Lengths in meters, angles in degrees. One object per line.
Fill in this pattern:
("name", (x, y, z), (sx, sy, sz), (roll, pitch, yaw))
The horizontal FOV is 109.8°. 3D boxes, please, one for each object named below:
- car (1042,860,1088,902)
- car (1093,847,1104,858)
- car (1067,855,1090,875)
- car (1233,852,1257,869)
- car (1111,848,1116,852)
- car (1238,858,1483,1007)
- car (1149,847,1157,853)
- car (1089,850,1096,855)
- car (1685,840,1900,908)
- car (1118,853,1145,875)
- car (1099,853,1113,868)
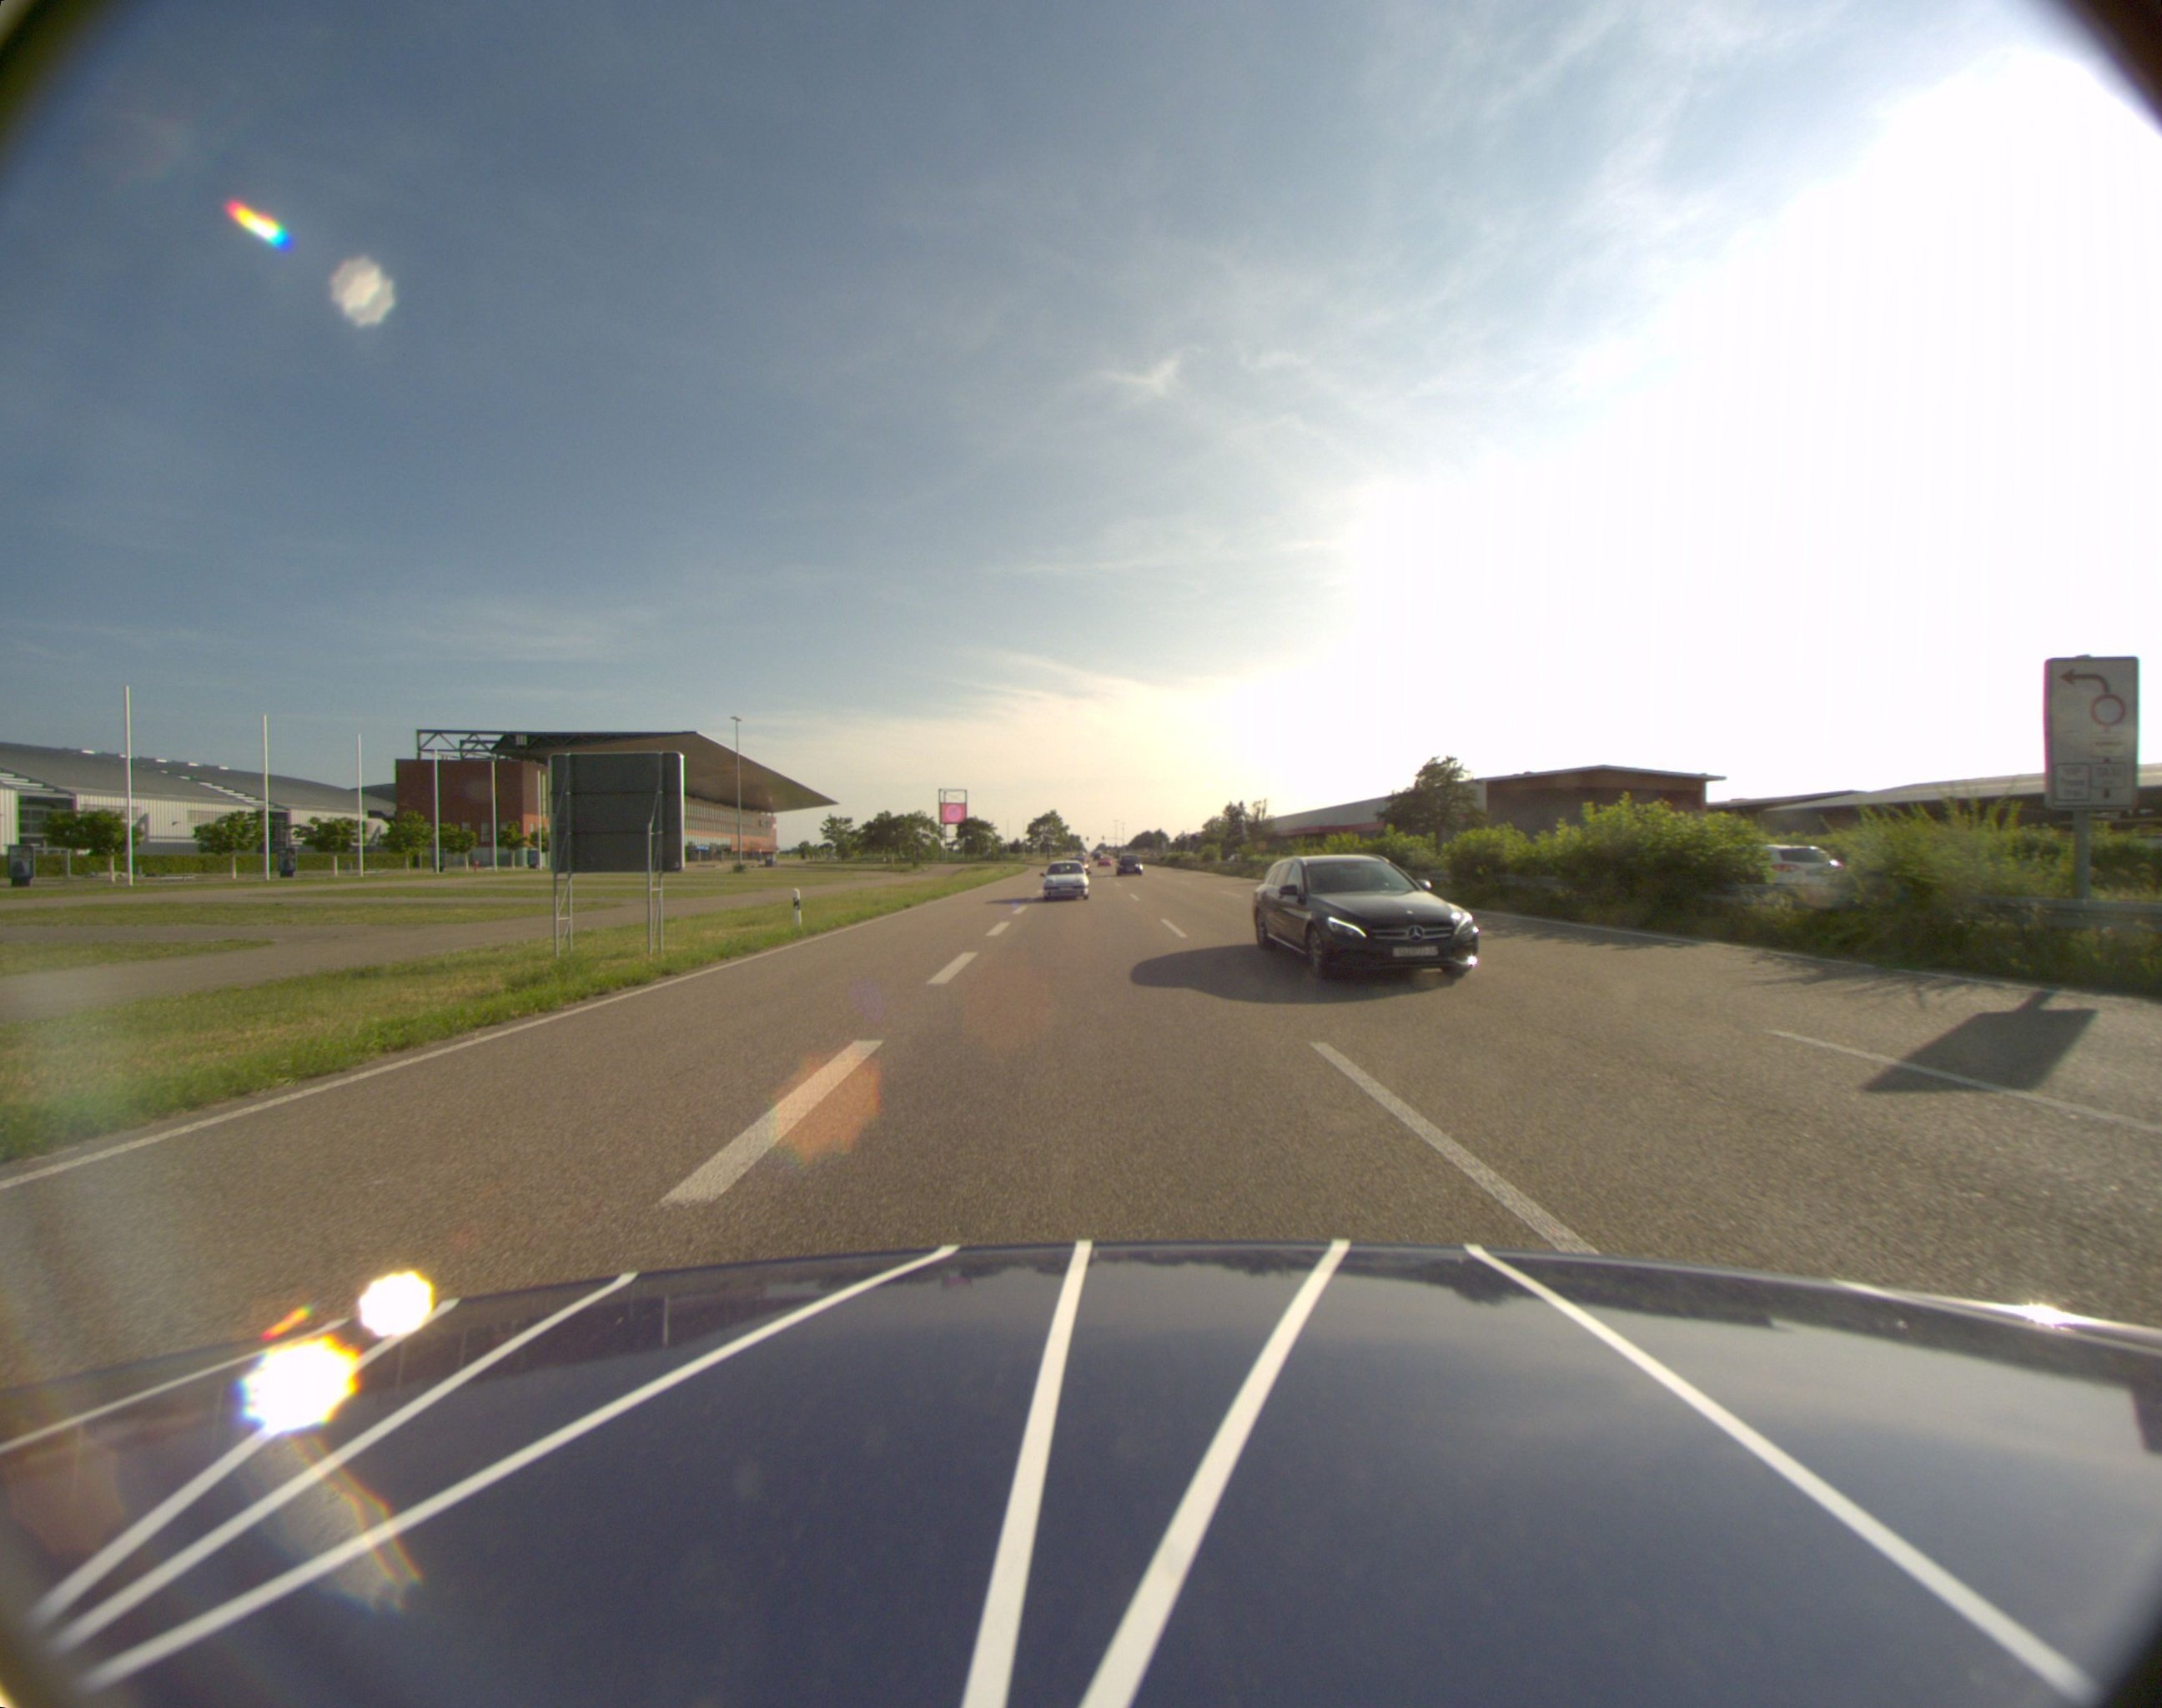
("car", (-0.541, 0.968, 28.254), (1.578, 1.371, 3.451), (-1, 0, 1))
("car", (3.485, -0.322, 153.493), (1.998, 2.002, 4.000), (-1, 1, 0))
("car", (-0.166, 0.865, 62.190), (1.751, 1.512, 3.739), (-1, 0, 1))
("car", (19.553, 0.756, 90.672), (1.841, 1.937, 3.998), (-1, 0, -4))
("car", (11.089, -1.445, 259.798), (1.711, 1.428, 3.564), (-1, 0, 1))
("car", (3.439, 0.840, 10.455), (1.576, 1.462, 5.022), (-1, 0, 1))
("car", (20.068, -1.095, 212.103), (1.784, 1.416, 4.000), (-1, 1, 1))
("car", (3.620, -0.536, 240.145), (1.998, 1.674, 4.000), (-1, 1, 0))
("car", (17.634, 0.448, 19.129), (1.706, 1.518, 4.000), (-1, 0, 1))
("car", (3.738, 0.728, 56.377), (1.758, 1.499, 3.422), (-1, 1, 0))
("car", (3.224, 0.819, 98.564), (1.799, 1.926, 4.000), (-1, 1, 0))
